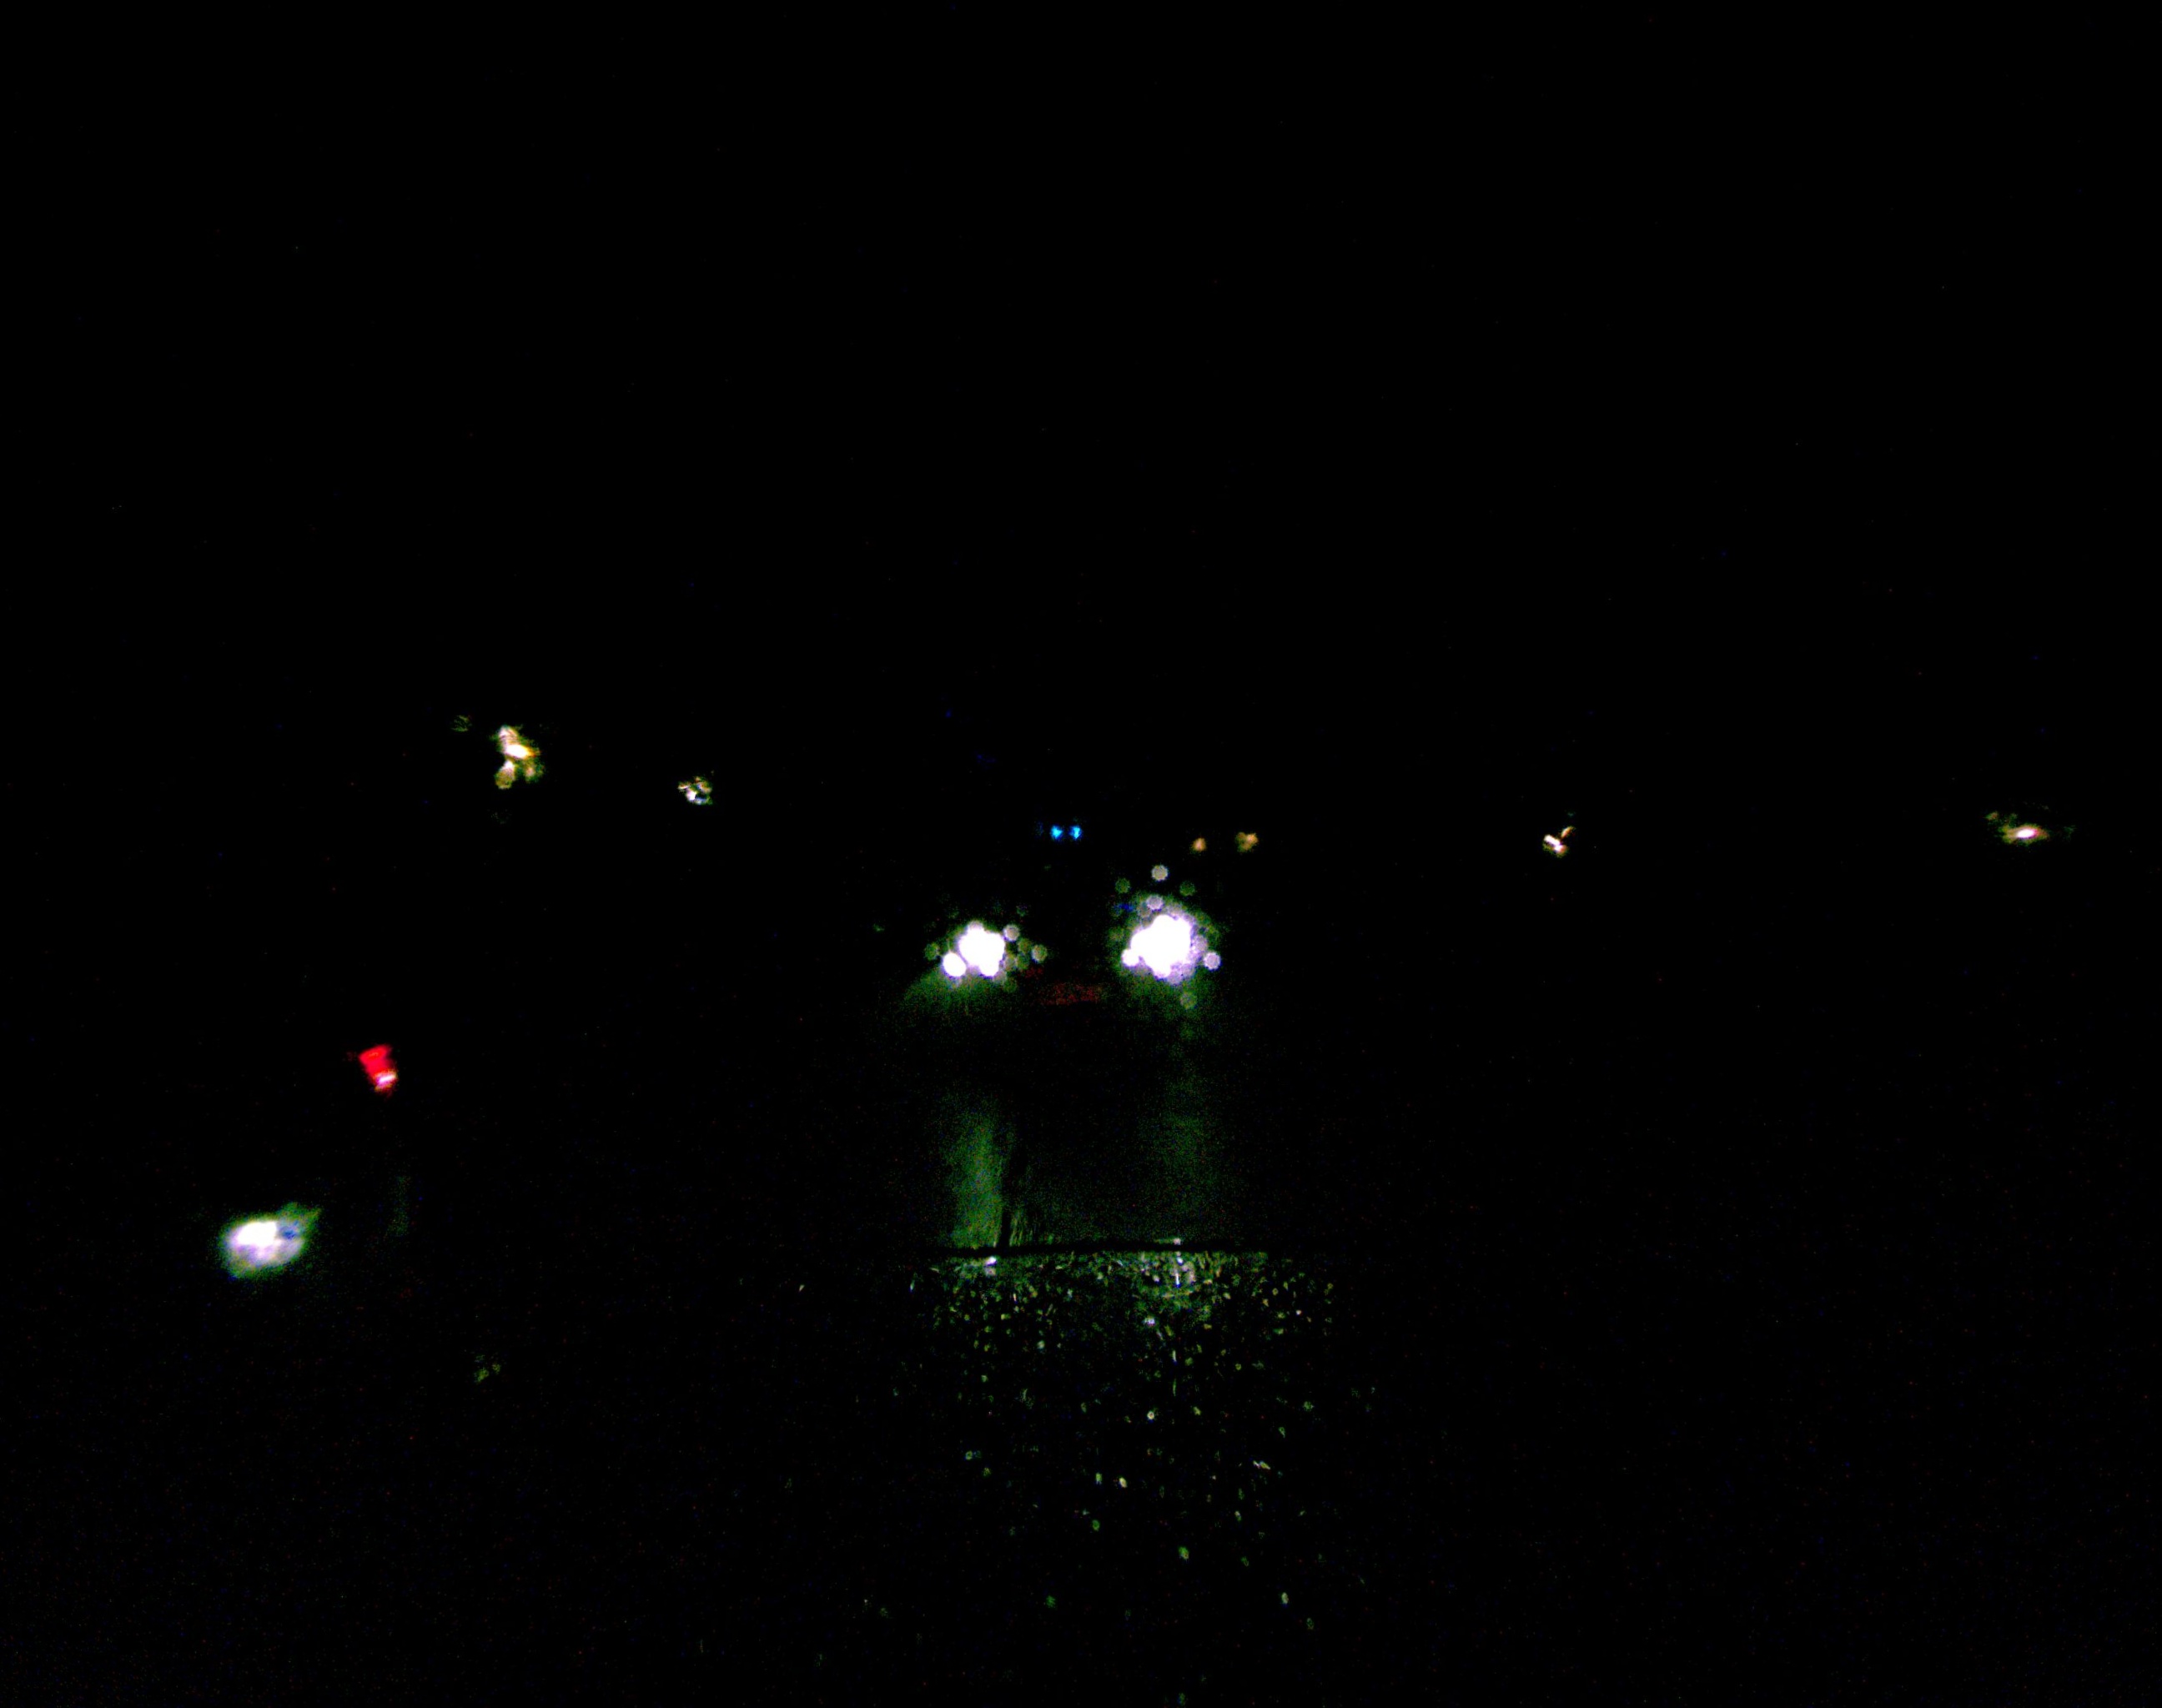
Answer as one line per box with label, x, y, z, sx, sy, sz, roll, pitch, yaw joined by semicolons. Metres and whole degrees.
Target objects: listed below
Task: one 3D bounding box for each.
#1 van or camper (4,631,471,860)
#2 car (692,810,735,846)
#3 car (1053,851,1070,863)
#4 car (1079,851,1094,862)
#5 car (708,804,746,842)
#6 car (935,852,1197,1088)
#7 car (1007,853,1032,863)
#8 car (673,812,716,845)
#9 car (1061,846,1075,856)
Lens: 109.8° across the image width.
van or camper;-12.756;-1.375;12.364;2.417;2.777;5.763;-3;1;-18
car;-26.349;-1.834;54.550;1.937;2.406;4.249;-3;1;-16
car;-3.334;0.506;127.757;2.001;2.002;3.995;-3;1;-13
car;0.811;0.411;124.752;1.893;1.559;4.483;-2;-1;-7
car;-27.802;-2.383;59.767;1.937;2.759;4.249;-3;1;-16
car;-0.076;0.840;7.668;1.826;1.573;4.353;-3;1;1
car;-11.198;0.778;138.283;3.991;1.687;2.002;-2;1;20
car;-24.974;-1.605;49.230;1.735;2.002;3.695;-3;1;-16
car;-2.736;-0.693;160.852;2.092;2.002;4.708;-2;1;-10
